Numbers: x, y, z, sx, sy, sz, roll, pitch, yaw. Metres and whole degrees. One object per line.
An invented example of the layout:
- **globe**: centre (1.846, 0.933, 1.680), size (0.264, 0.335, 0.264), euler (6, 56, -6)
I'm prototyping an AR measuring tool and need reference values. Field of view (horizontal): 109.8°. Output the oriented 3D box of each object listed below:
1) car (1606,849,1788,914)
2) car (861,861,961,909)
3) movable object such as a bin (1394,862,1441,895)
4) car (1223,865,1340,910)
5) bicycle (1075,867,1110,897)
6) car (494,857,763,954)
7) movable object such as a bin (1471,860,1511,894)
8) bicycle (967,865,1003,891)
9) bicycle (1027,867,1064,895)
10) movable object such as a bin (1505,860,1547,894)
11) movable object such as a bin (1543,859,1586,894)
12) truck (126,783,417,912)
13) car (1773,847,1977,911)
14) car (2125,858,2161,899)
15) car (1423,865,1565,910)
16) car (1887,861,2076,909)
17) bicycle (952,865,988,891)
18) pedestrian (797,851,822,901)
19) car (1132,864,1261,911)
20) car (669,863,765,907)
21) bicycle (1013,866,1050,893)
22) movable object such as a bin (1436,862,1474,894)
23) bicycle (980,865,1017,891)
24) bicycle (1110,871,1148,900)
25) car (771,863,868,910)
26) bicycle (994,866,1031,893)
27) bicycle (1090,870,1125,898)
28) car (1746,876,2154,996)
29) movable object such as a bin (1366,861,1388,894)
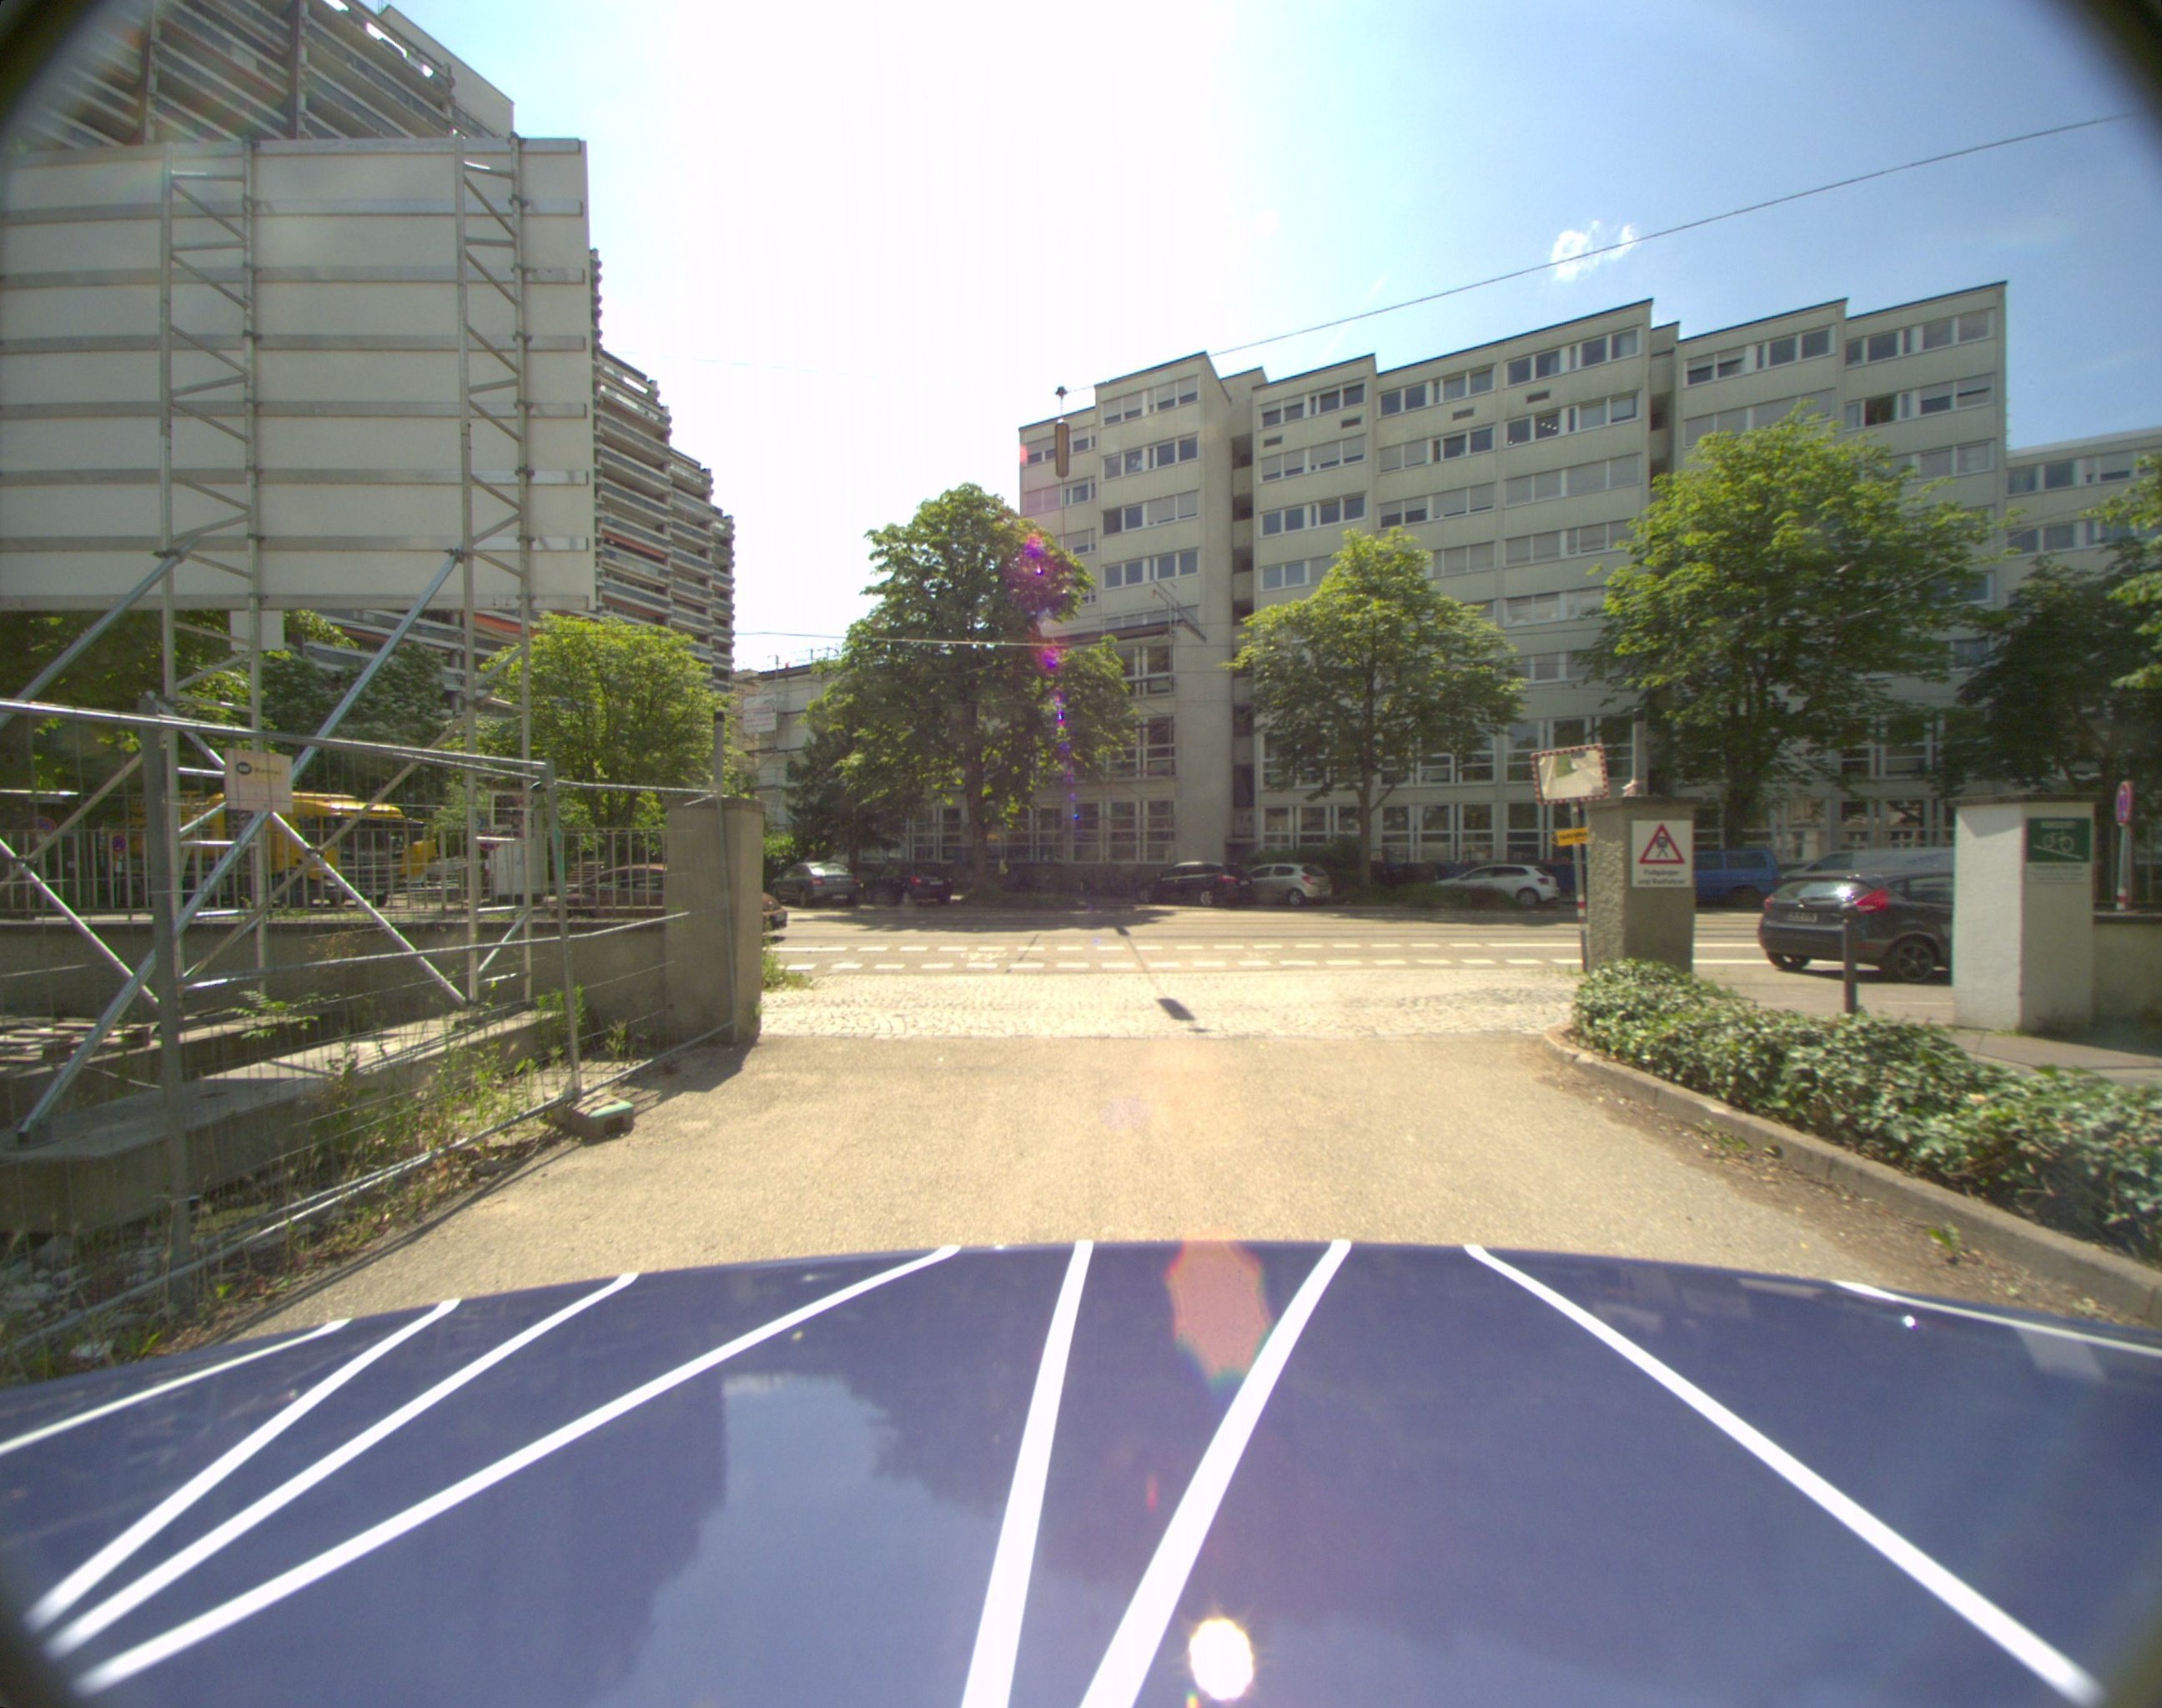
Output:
- **car**: centre (20.822, 0.876, 25.815), size (2.004, 2.002, 4.617), euler (0, 0, -45)
- **car**: centre (-5.885, 1.017, 26.101), size (3.565, 1.508, 1.654), euler (-1, 0, 44)
- **movable object such as a bin**: centre (13.870, 1.001, 31.371), size (1.451, 1.322, 1.126), euler (0, -1, 2)
- **car**: centre (6.953, 1.106, 26.482), size (3.530, 1.453, 1.758), euler (-1, 0, 44)
- **bicycle**: centre (0.515, 1.167, 32.354), size (0.567, 1.230, 1.948), euler (0, 0, 32)
- **car**: centre (-8.617, 0.944, 14.787), size (3.997, 1.679, 1.999), euler (0, 2, -1)
- **movable object such as a bin**: centre (16.978, 0.950, 31.514), size (1.180, 1.390, 1.038), euler (0, -1, 8)
- **bicycle**: centre (-4.320, 1.075, 34.416), size (0.567, 1.124, 1.931), euler (0, 0, 29)
- **bicycle**: centre (-1.503, 1.149, 32.719), size (0.567, 1.124, 1.948), euler (0, 0, 32)
- **movable object such as a bin**: centre (18.393, 0.939, 31.425), size (1.180, 1.390, 1.038), euler (0, -1, 8)
- **movable object such as a bin**: centre (19.920, 0.928, 31.324), size (1.180, 1.390, 1.038), euler (0, -1, 8)
- **truck**: centre (-27.829, -0.172, 26.110), size (9.724, 3.983, 2.754), euler (0, 1, 17)
- **car**: centre (26.924, 0.797, 25.935), size (2.004, 2.002, 4.618), euler (0, 0, -37)
- **car**: centre (40.028, 0.947, 26.464), size (3.987, 1.379, 1.754), euler (3, 4, 44)
- **car**: centre (14.111, 1.097, 26.075), size (3.970, 1.405, 1.719), euler (-1, 0, 44)
- **car**: centre (30.451, 0.995, 25.816), size (1.674, 1.477, 3.990), euler (0, 0, -34)
- **bicycle**: centre (-5.054, 1.076, 34.682), size (0.567, 1.124, 1.931), euler (0, 0, 29)
- **pedestrian**: centre (-10.354, 0.830, 28.981), size (0.576, 1.863, 0.716), euler (0, 0, 14)
- **car**: centre (3.959, 1.104, 26.447), size (4.185, 1.461, 1.758), euler (-1, 0, 44)
- **car**: centre (-12.532, 1.002, 26.046), size (4.011, 1.365, 1.633), euler (-1, 0, 44)
- **bicycle**: centre (-2.150, 1.103, 33.172), size (0.567, 1.124, 1.948), euler (0, 0, 32)
- **movable object such as a bin**: centre (15.445, 0.992, 31.415), size (1.076, 1.322, 0.971), euler (0, -1, 2)
- **bicycle**: centre (-3.665, 1.044, 34.011), size (0.567, 1.124, 1.932), euler (0, 0, 32)
- **bicycle**: centre (2.022, 1.280, 31.688), size (0.567, 1.124, 2.239), euler (0, 0, 32)
- **car**: centre (-9.011, 1.045, 25.991), size (1.823, 1.454, 4.011), euler (0, 0, -40)
- **bicycle**: centre (-3.024, 1.109, 33.629), size (0.567, 1.124, 1.948), euler (0, 0, 32)
- **bicycle**: centre (1.138, 1.251, 31.833), size (0.567, 1.124, 1.948), euler (0, 0, 32)
- **car**: centre (11.396, 1.035, 10.129), size (3.724, 1.447, 1.589), euler (0, -2, -3)
- **movable object such as a bin**: centre (12.735, 0.994, 32.732), size (0.802, 1.397, 0.768), euler (0, 0, 14)
